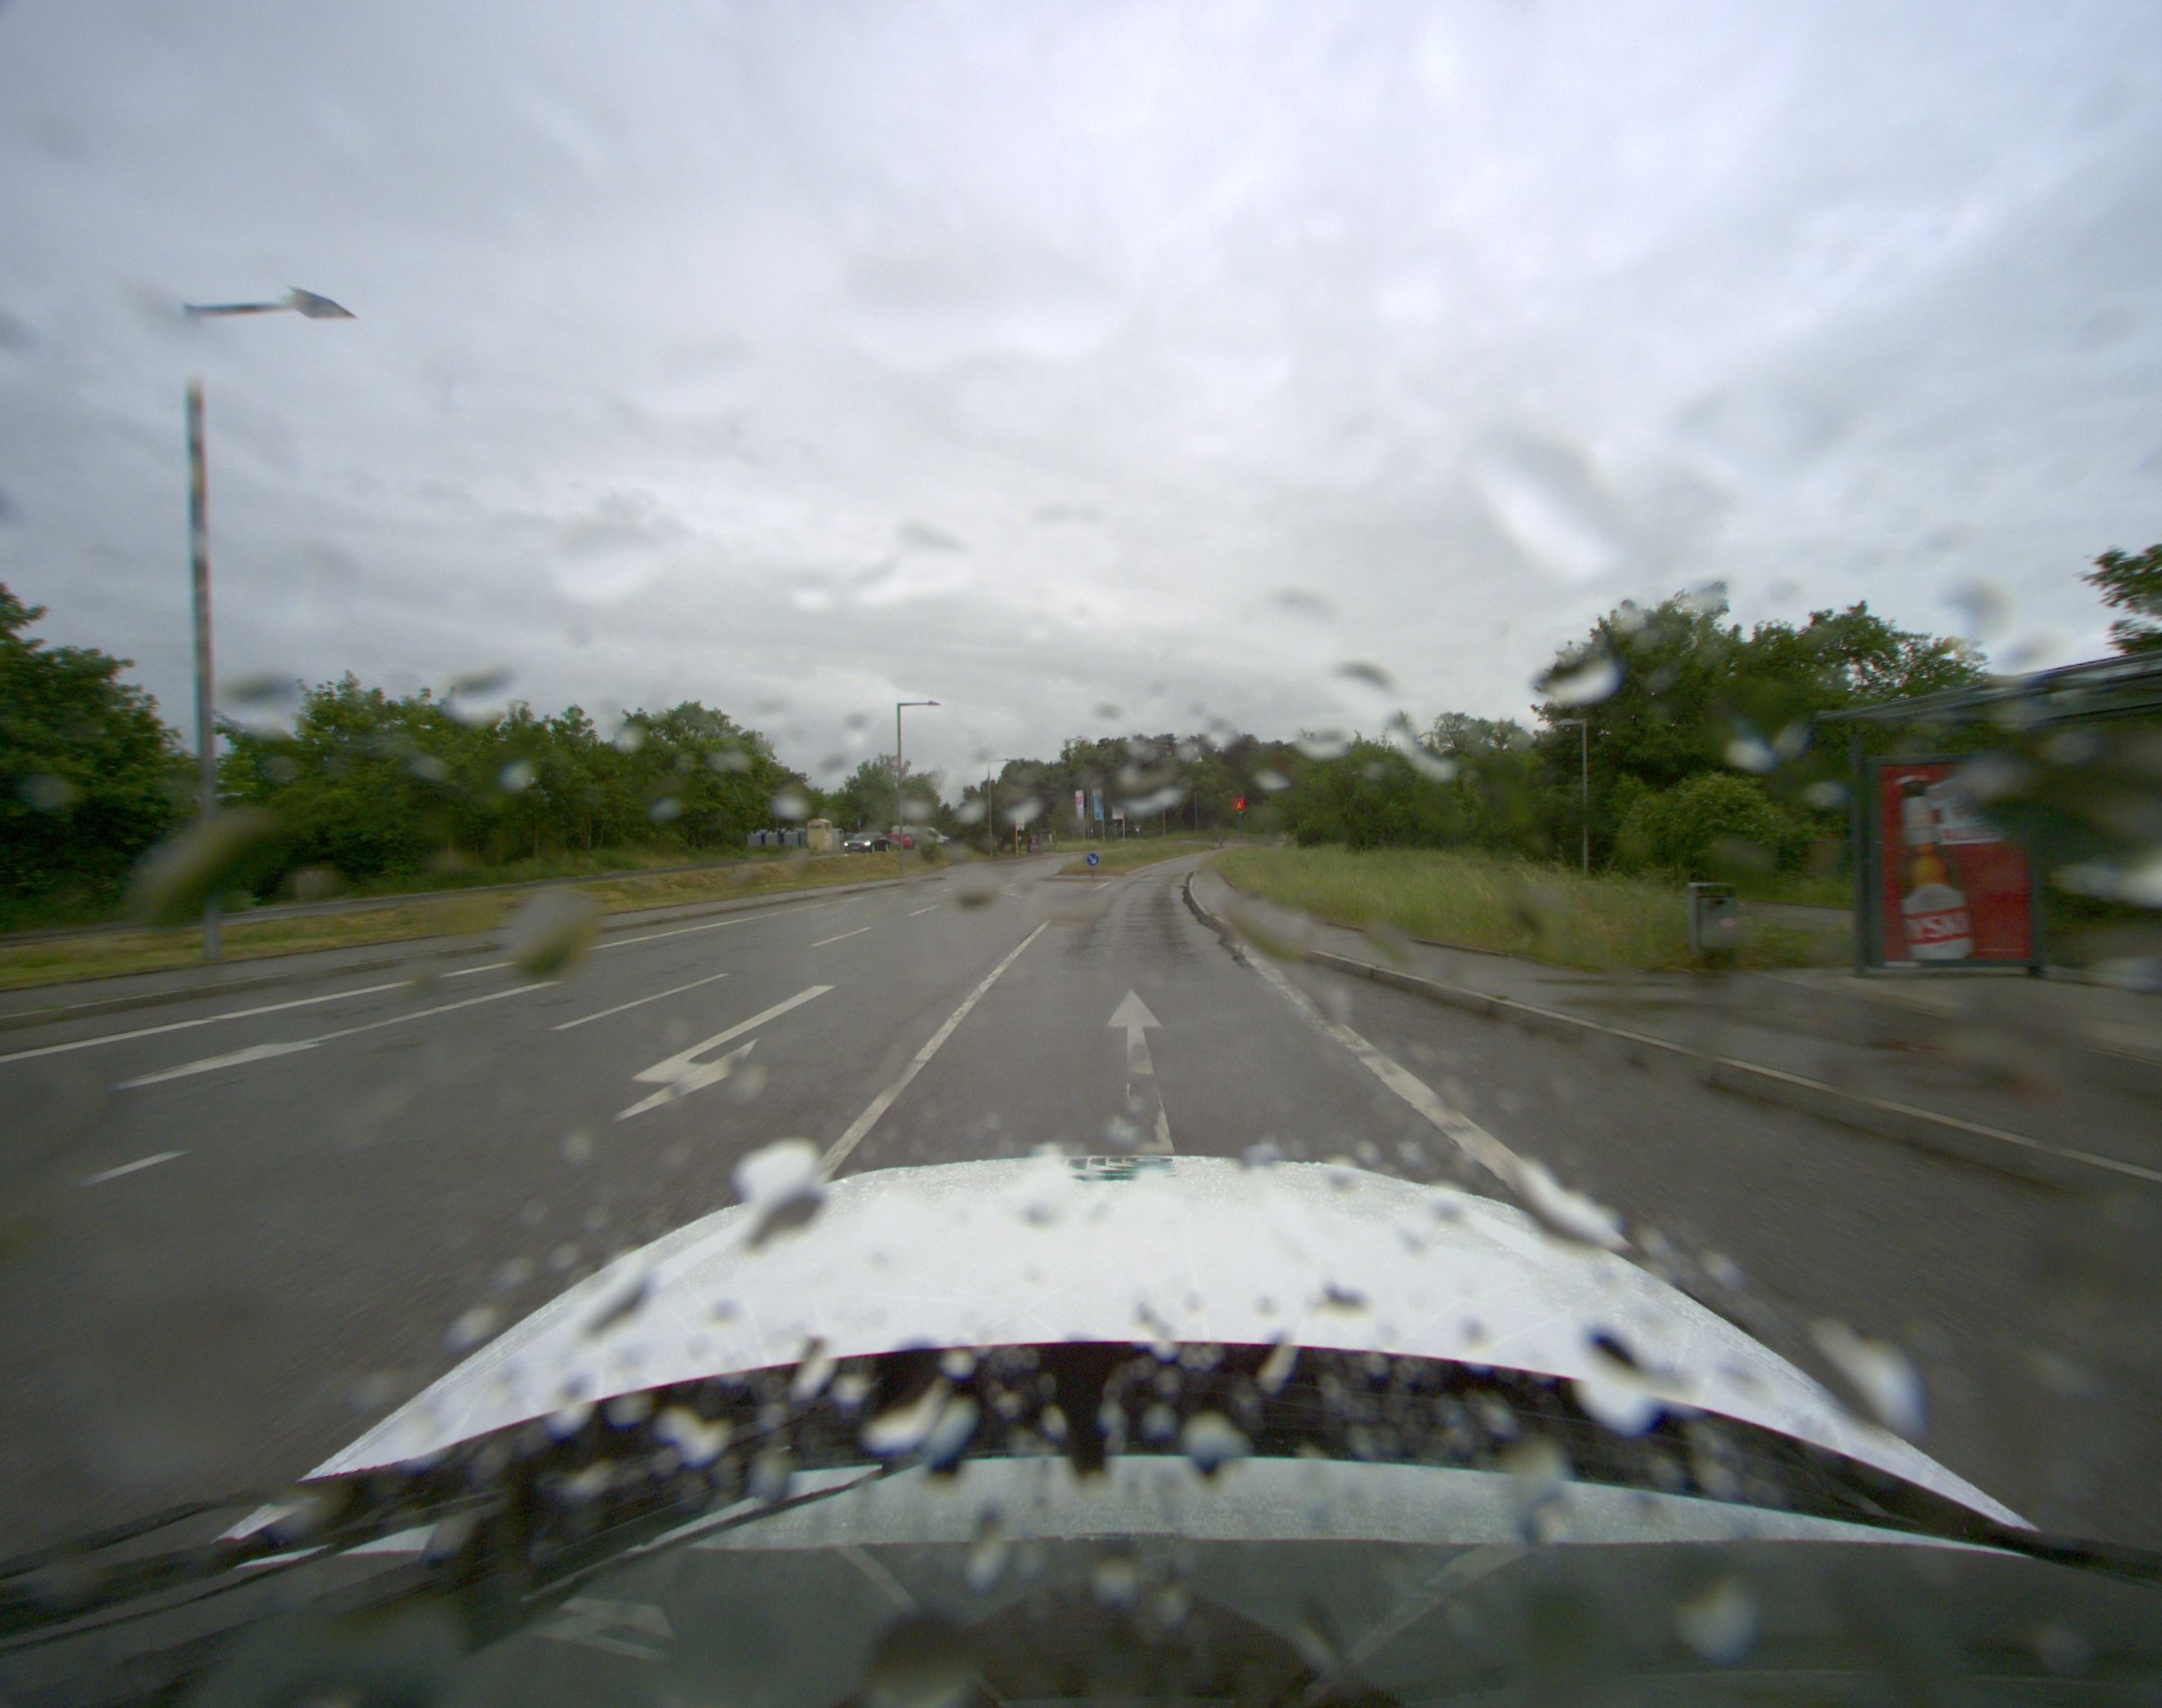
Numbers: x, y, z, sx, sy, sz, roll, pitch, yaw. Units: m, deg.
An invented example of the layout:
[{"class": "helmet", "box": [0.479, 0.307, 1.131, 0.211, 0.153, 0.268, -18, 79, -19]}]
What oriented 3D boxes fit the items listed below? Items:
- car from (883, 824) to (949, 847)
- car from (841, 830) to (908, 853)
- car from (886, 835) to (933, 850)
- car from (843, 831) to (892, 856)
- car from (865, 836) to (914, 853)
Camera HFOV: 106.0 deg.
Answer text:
[{"class": "car", "box": [-17.528, -1.933, 86.581, 6.528, 2.397, 2.140, 0, 0, 2]}, {"class": "car", "box": [-16.451, -0.974, 64.940, 4.682, 1.693, 2.009, -1, 1, 6]}, {"class": "car", "box": [-16.562, -1.113, 78.705, 3.964, 1.364, 1.852, -1, 1, 8]}, {"class": "car", "box": [-14.250, -0.736, 54.643, 1.683, 1.568, 4.550, 2, 2, 6]}, {"class": "car", "box": [-17.716, -0.919, 75.587, 3.966, 1.469, 1.852, -1, 1, 7]}]
